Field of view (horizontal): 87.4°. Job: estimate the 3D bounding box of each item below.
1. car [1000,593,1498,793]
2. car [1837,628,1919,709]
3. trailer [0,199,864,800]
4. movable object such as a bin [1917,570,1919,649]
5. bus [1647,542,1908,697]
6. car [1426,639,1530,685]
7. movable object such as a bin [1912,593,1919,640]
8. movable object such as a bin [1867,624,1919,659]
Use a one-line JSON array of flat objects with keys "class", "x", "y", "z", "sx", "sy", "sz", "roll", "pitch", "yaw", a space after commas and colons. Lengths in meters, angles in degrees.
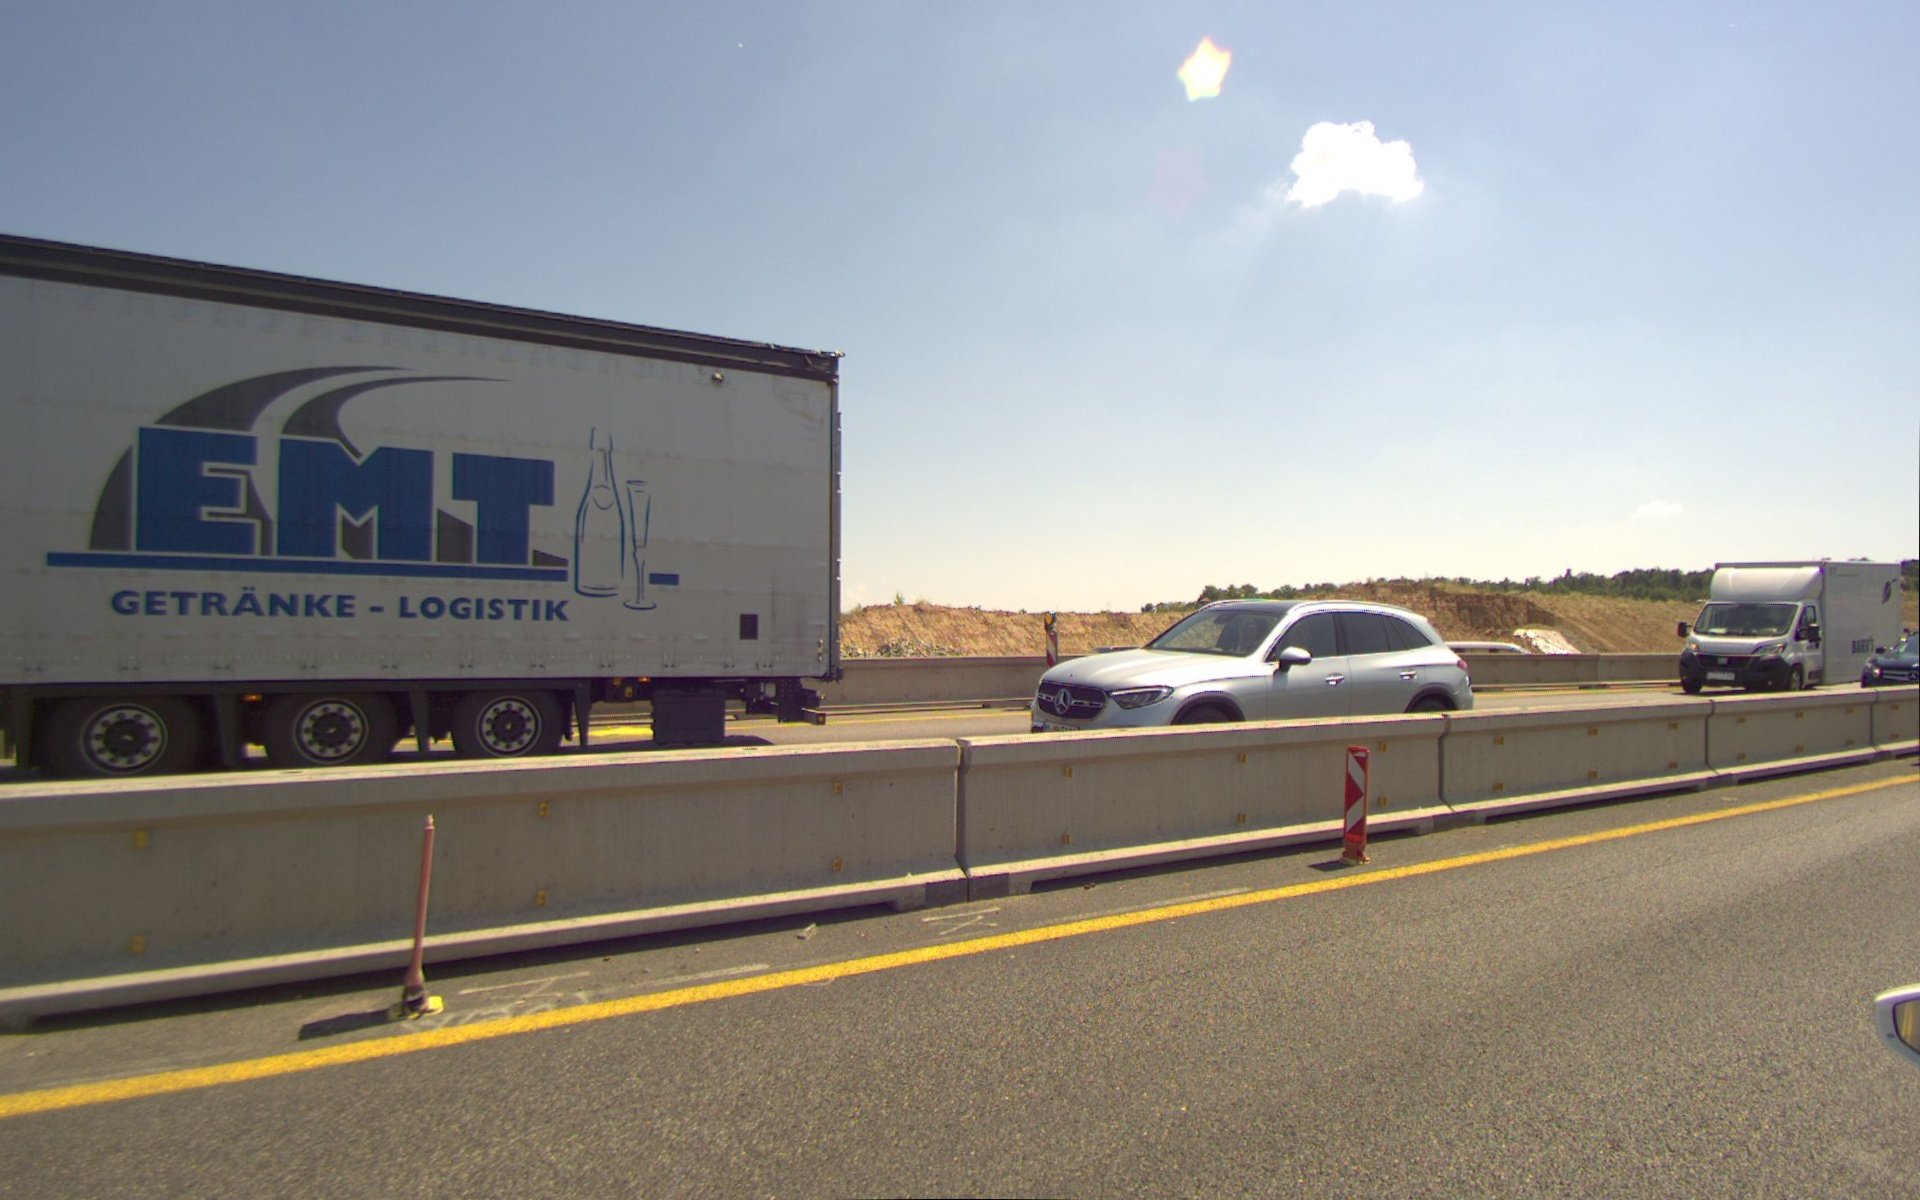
[{"class": "car", "x": 2.839, "y": 0.755, "z": 9.506, "sx": 4.721, "sy": 1.495, "sz": 1.787, "roll": 1, "pitch": -1, "yaw": -30}, {"class": "car", "x": 18.986, "y": 1.285, "z": 19.426, "sx": 4.348, "sy": 1.433, "sz": 1.800, "roll": 1, "pitch": -1, "yaw": -31}, {"class": "trailer", "x": -7.718, "y": -0.685, "z": 7.970, "sx": 13.793, "sy": 4.169, "sz": 2.751, "roll": 1, "pitch": -1, "yaw": -26}, {"class": "movable object such as a bin", "x": 98.698, "y": 0.943, "z": 97.664, "sx": 3.409, "sy": 7.815, "sz": 7.593, "roll": 1, "pitch": -1, "yaw": -33}, {"class": "bus", "x": 19.062, "y": 0.480, "z": 23.303, "sx": 7.143, "sy": 3.167, "sz": 2.338, "roll": 1, "pitch": -1, "yaw": -30}, {"class": "car", "x": 18.011, "y": 2.134, "z": 34.966, "sx": 3.145, "sy": 1.474, "sz": 1.544, "roll": 0, "pitch": -1, "yaw": 31}, {"class": "movable object such as a bin", "x": 156.655, "y": 2.513, "z": 151.551, "sx": 3.581, "sy": 7.327, "sz": 18.581, "roll": 1, "pitch": -1, "yaw": -36}, {"class": "movable object such as a bin", "x": 69.603, "y": 3.085, "z": 74.789, "sx": 6.677, "sy": 2.493, "sz": 1.690, "roll": 1, "pitch": -1, "yaw": -35}]
